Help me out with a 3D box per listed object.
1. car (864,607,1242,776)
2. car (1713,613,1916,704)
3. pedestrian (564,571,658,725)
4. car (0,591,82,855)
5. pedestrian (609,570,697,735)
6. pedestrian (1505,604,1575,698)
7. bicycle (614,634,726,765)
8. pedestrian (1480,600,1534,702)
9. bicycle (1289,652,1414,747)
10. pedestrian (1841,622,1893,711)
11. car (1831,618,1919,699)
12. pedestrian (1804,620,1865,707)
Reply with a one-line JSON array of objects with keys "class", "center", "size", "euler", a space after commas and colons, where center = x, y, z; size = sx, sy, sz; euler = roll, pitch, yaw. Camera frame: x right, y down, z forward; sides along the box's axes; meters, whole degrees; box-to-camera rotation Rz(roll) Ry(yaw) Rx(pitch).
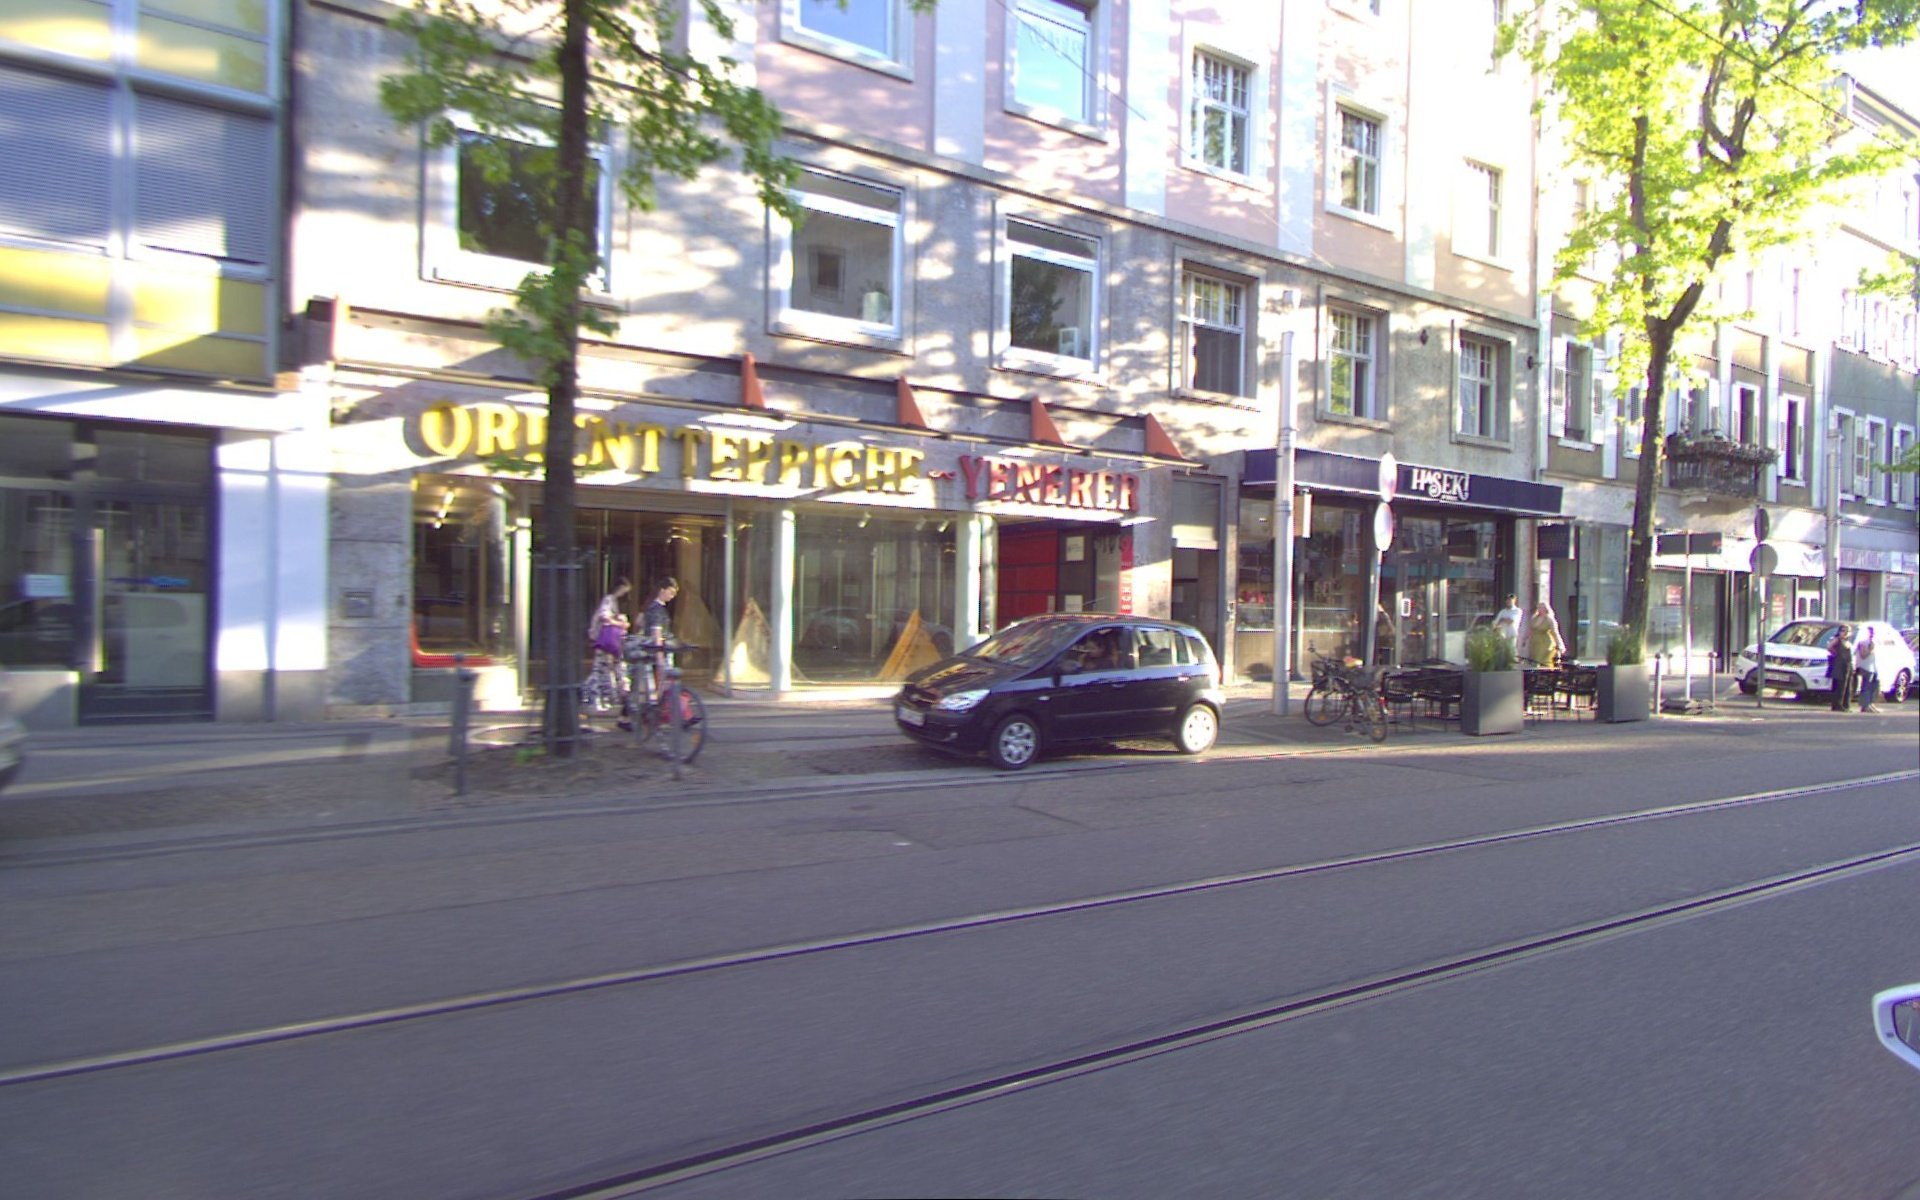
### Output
[{"class": "car", "center": [1.043, 0.879, 10.842], "size": [3.782, 1.448, 1.657], "euler": [1, 2, -30]}, {"class": "car", "center": [17.749, 1.161, 20.843], "size": [4.066, 1.601, 1.828], "euler": [1, 3, -29]}, {"class": "pedestrian", "center": [-4.088, 0.546, 11.753], "size": [0.903, 1.716, 0.785], "euler": [1, 0, -30]}, {"class": "car", "center": [-7.478, 0.662, 5.123], "size": [4.115, 1.517, 1.763], "euler": [2, 0, -23]}, {"class": "pedestrian", "center": [-3.362, 0.548, 10.978], "size": [0.731, 1.716, 0.840], "euler": [1, 0, -30]}, {"class": "pedestrian", "center": [11.349, 0.979, 19.657], "size": [1.077, 1.784, 0.718], "euler": [1, 0, -29]}, {"class": "bicycle", "center": [-2.866, 0.918, 9.814], "size": [0.436, 1.079, 1.796], "euler": [1, 1, -37]}, {"class": "pedestrian", "center": [11.225, 1.032, 20.629], "size": [0.635, 2.040, 0.719], "euler": [1, 0, -29]}, {"class": "bicycle", "center": [4.876, 1.211, 12.610], "size": [0.426, 0.978, 1.612], "euler": [1, 2, -23]}, {"class": "pedestrian", "center": [16.578, 1.203, 18.367], "size": [0.626, 1.590, 0.519], "euler": [2, -1, -29]}, {"class": "car", "center": [22.178, 1.315, 23.008], "size": [4.645, 1.601, 1.828], "euler": [1, 3, -29]}, {"class": "pedestrian", "center": [15.845, 1.136, 18.205], "size": [0.720, 1.529, 0.617], "euler": [2, -1, -29]}]
